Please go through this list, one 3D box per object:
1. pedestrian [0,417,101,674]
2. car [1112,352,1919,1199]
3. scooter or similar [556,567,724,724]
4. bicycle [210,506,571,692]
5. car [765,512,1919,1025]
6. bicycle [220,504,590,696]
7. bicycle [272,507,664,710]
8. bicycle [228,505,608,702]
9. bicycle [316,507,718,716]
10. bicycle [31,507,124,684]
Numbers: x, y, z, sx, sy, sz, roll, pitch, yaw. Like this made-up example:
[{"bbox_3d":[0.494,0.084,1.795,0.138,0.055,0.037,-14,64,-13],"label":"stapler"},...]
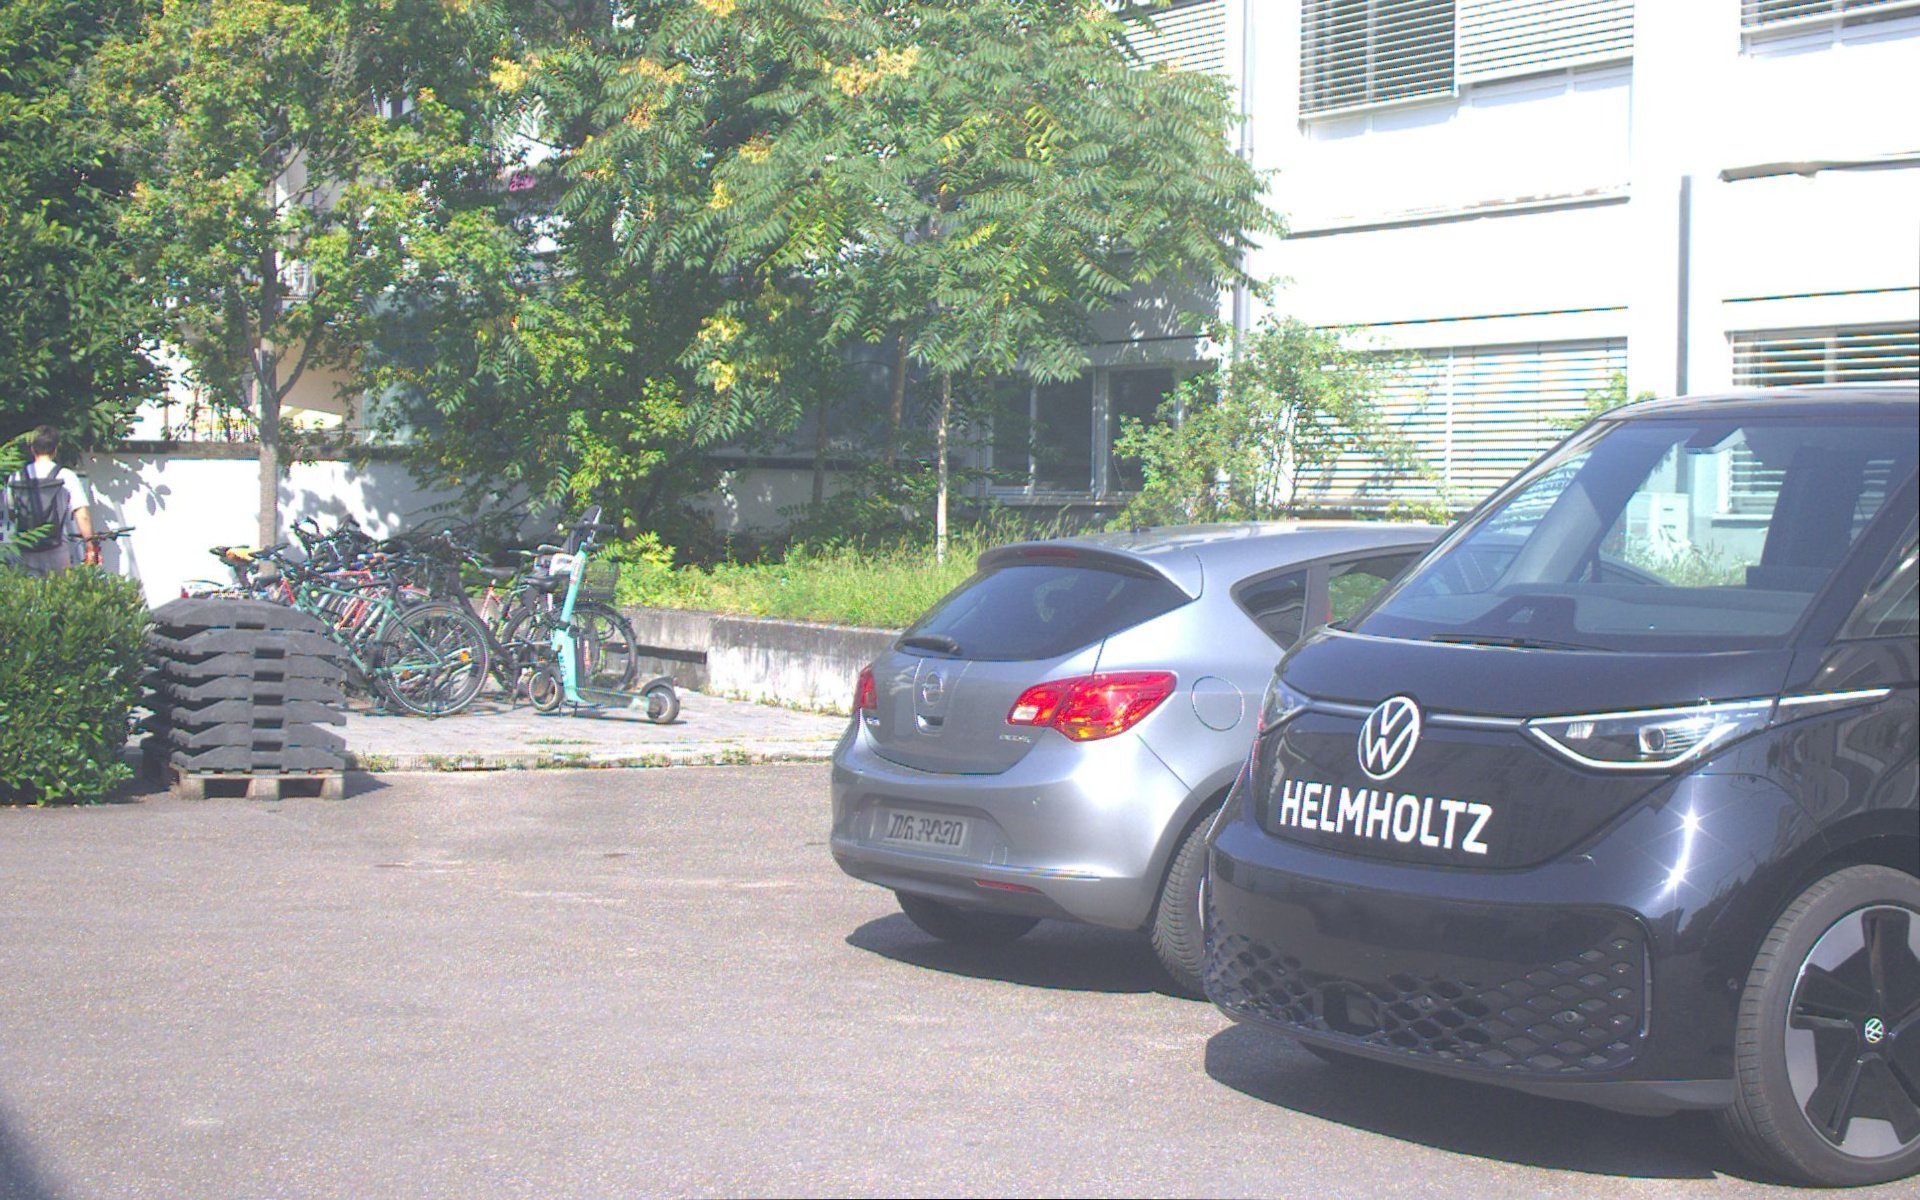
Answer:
[{"bbox_3d":[-6.507,-0.384,24.116,0.858,1.765,0.611,1,1,-17],"label":"pedestrian"},{"bbox_3d":[2.757,0.352,9.203,4.335,1.852,1.915,0,2,-32],"label":"car"},{"bbox_3d":[-1.996,0.275,21.427,0.998,0.921,0.360,3,2,30],"label":"scooter or similar"},{"bbox_3d":[-3.984,-0.002,24.118,2.410,1.242,0.526,1,1,-22],"label":"bicycle"},{"bbox_3d":[1.435,0.458,11.790,3.897,1.461,1.663,-1,3,-35],"label":"car"},{"bbox_3d":[-3.787,0.007,23.510,2.410,1.242,0.526,1,1,-22],"label":"bicycle"},{"bbox_3d":[-3.158,0.060,22.156,2.410,1.242,0.526,1,1,-22],"label":"bicycle"},{"bbox_3d":[-3.600,0.031,22.887,2.410,1.242,0.526,1,1,-22],"label":"bicycle"},{"bbox_3d":[-2.769,0.080,21.577,2.410,1.242,0.526,1,1,-22],"label":"bicycle"},{"bbox_3d":[-6.193,-0.057,24.087,0.488,1.139,1.995,0,3,-19],"label":"bicycle"}]
